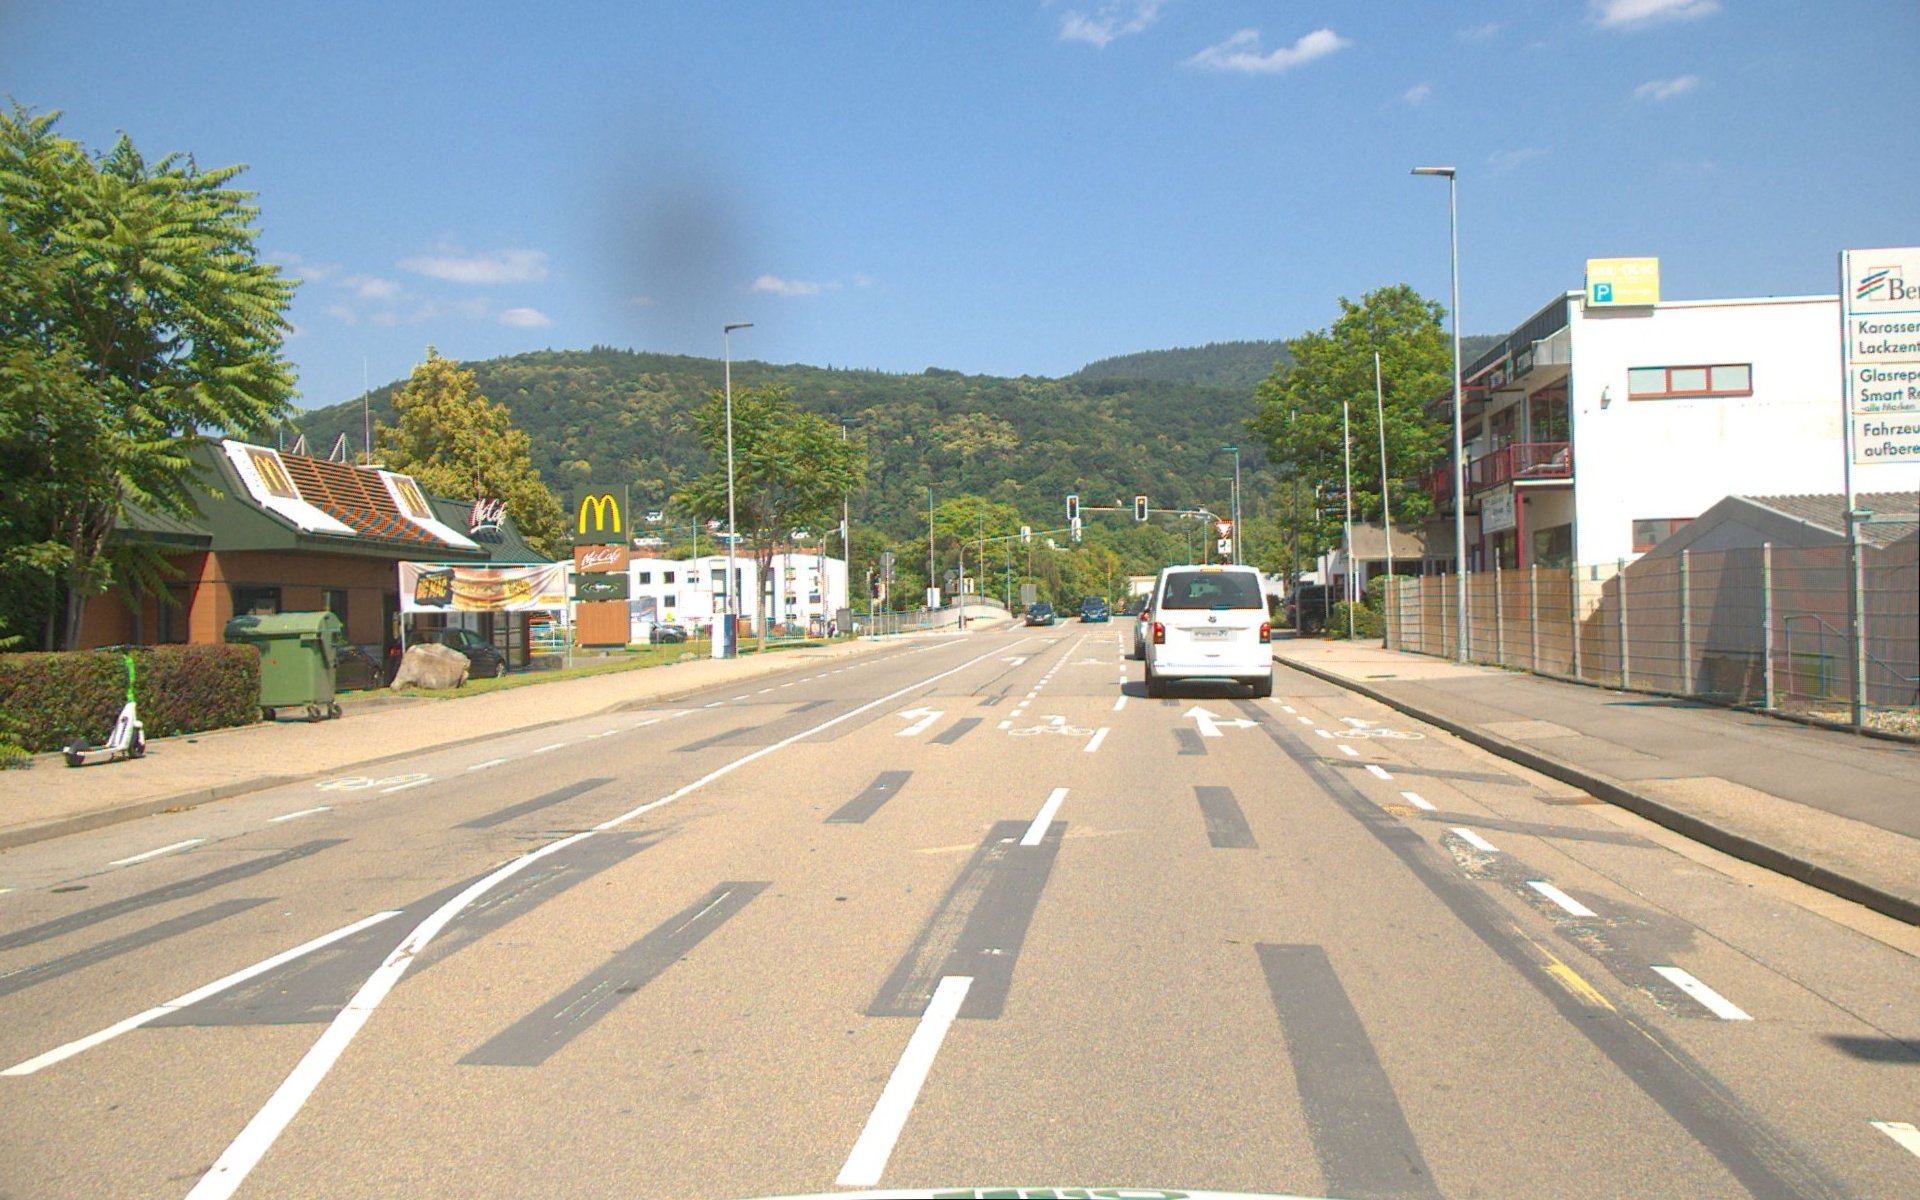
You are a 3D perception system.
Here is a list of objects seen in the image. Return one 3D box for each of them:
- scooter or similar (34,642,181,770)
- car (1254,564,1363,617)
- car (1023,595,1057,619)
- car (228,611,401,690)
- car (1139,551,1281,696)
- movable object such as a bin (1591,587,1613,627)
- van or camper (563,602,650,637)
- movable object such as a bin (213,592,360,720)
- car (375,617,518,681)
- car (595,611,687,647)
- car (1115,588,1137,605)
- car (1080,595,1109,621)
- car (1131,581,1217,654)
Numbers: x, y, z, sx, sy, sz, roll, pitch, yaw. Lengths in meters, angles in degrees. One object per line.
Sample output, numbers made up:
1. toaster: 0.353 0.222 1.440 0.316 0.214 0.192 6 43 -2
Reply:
1. scooter or similar: -8.539 1.036 16.641 0.633 1.147 1.623 1 1 -1
2. car: 13.063 -0.372 62.062 3.902 1.806 2.002 -2 0 12
3. car: 5.290 0.440 108.357 1.951 1.394 4.330 -2 0 6
4. car: -13.814 1.039 35.673 1.789 1.502 4.323 1 1 4
5. car: 3.902 0.311 26.514 1.894 2.095 4.547 1 1 4
6. movable object such as a bin: 16.998 0.182 43.803 0.403 1.029 0.545 -2 0 7
7. van or camper: -16.470 0.902 77.224 3.917 1.601 1.994 0 1 -13
8. movable object such as a bin: -9.090 0.733 22.390 1.419 1.618 1.306 -2 1 -3
9. car: -13.075 1.220 42.385 1.951 1.441 4.133 1 1 7
10. car: -15.922 1.437 82.778 4.230 1.620 1.998 -2 0 -4
11. car: 16.708 -0.360 166.719 1.952 1.556 4.045 1 1 2
12. car: 9.111 0.505 111.848 1.810 1.616 4.003 -2 0 6
13. car: 5.342 0.395 41.774 1.894 1.716 4.547 0 1 4
